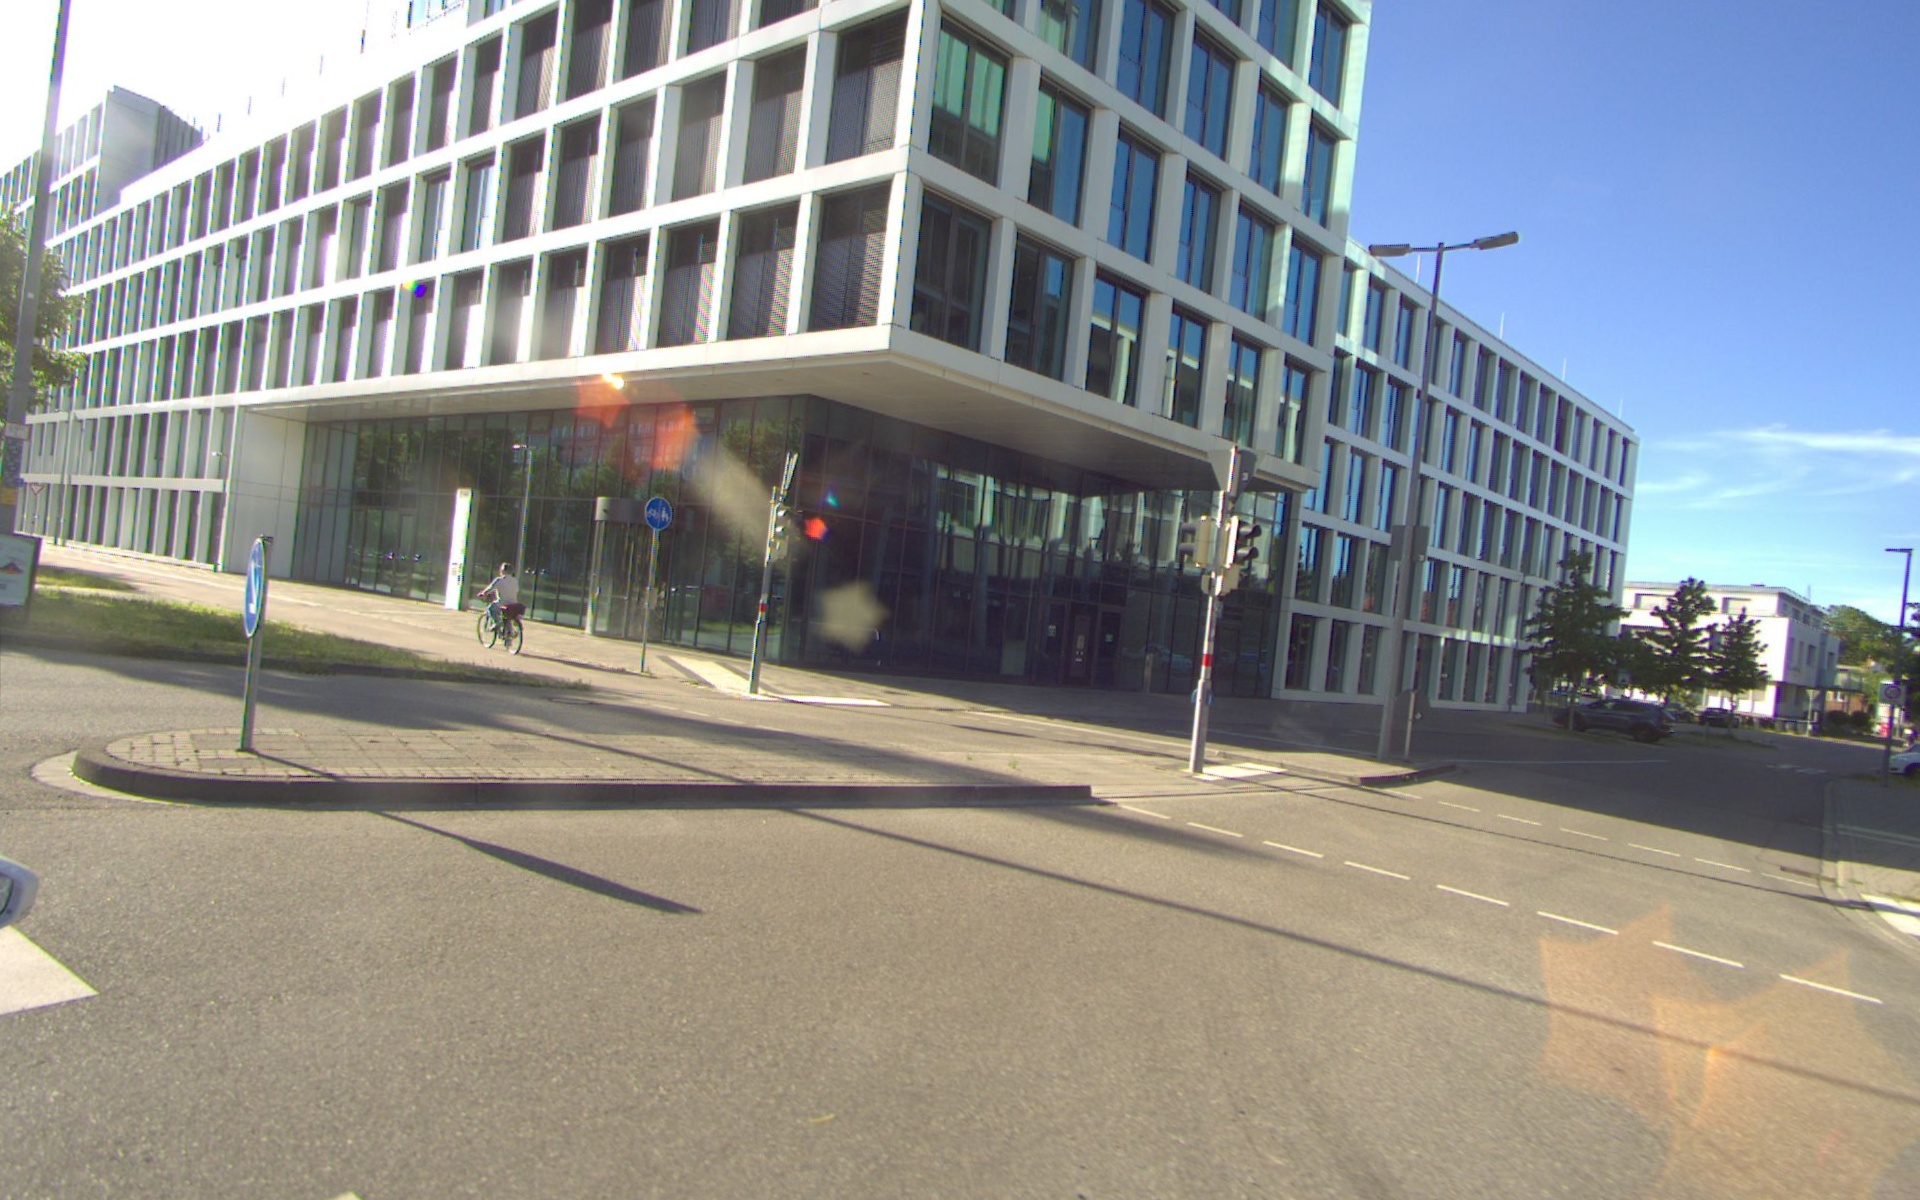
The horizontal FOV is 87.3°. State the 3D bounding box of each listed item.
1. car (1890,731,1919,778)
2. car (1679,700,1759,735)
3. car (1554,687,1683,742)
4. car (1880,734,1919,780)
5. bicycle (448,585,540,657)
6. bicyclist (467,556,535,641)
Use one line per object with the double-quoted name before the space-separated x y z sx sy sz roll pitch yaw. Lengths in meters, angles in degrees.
"car" 35.105 5.634 34.864 1.648 1.523 3.954 7 -1 -41
"car" 53.587 8.254 71.090 1.855 1.816 4.084 7 -1 -40
"car" 28.251 4.892 43.253 1.649 1.734 4.243 7 -1 -43
"car" 36.815 6.034 37.145 1.648 1.523 3.954 7 -1 -41
"bicycle" -9.222 0.402 19.879 1.931 1.188 0.741 6 0 37
"bicyclist" -9.024 -0.026 19.780 0.836 1.550 0.771 6 1 36
